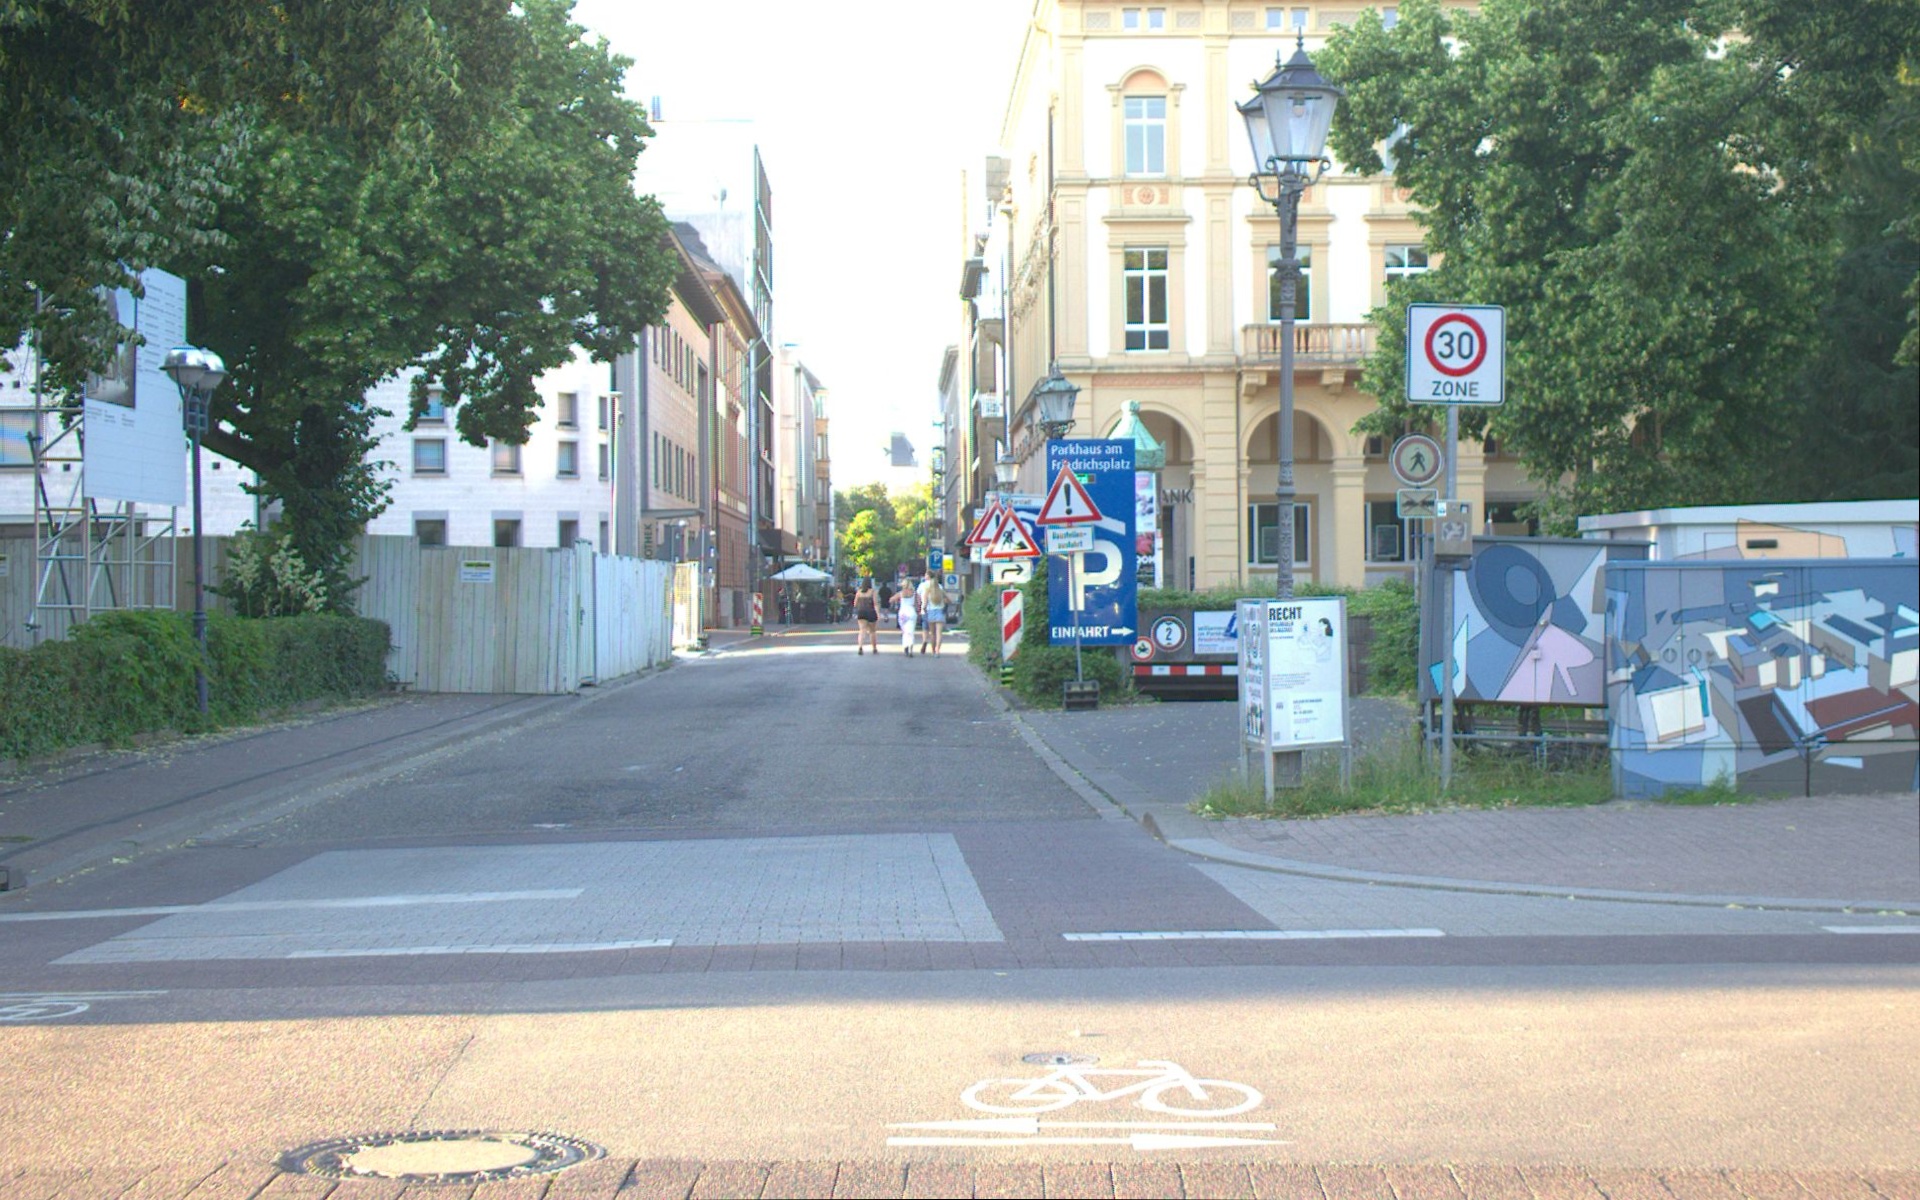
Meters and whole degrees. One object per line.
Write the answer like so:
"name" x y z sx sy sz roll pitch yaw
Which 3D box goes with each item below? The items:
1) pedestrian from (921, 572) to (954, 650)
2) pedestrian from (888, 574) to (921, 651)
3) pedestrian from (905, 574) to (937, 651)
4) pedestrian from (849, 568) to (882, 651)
"pedestrian" -0.480 0.227 72.640 0.657 1.611 0.745 -1 0 0
"pedestrian" -1.177 0.257 72.582 0.657 1.611 0.745 -1 0 0
"pedestrian" -0.846 0.259 73.920 0.657 1.630 0.745 -1 0 0
"pedestrian" -2.027 0.196 73.936 0.657 1.754 0.745 -1 0 0
